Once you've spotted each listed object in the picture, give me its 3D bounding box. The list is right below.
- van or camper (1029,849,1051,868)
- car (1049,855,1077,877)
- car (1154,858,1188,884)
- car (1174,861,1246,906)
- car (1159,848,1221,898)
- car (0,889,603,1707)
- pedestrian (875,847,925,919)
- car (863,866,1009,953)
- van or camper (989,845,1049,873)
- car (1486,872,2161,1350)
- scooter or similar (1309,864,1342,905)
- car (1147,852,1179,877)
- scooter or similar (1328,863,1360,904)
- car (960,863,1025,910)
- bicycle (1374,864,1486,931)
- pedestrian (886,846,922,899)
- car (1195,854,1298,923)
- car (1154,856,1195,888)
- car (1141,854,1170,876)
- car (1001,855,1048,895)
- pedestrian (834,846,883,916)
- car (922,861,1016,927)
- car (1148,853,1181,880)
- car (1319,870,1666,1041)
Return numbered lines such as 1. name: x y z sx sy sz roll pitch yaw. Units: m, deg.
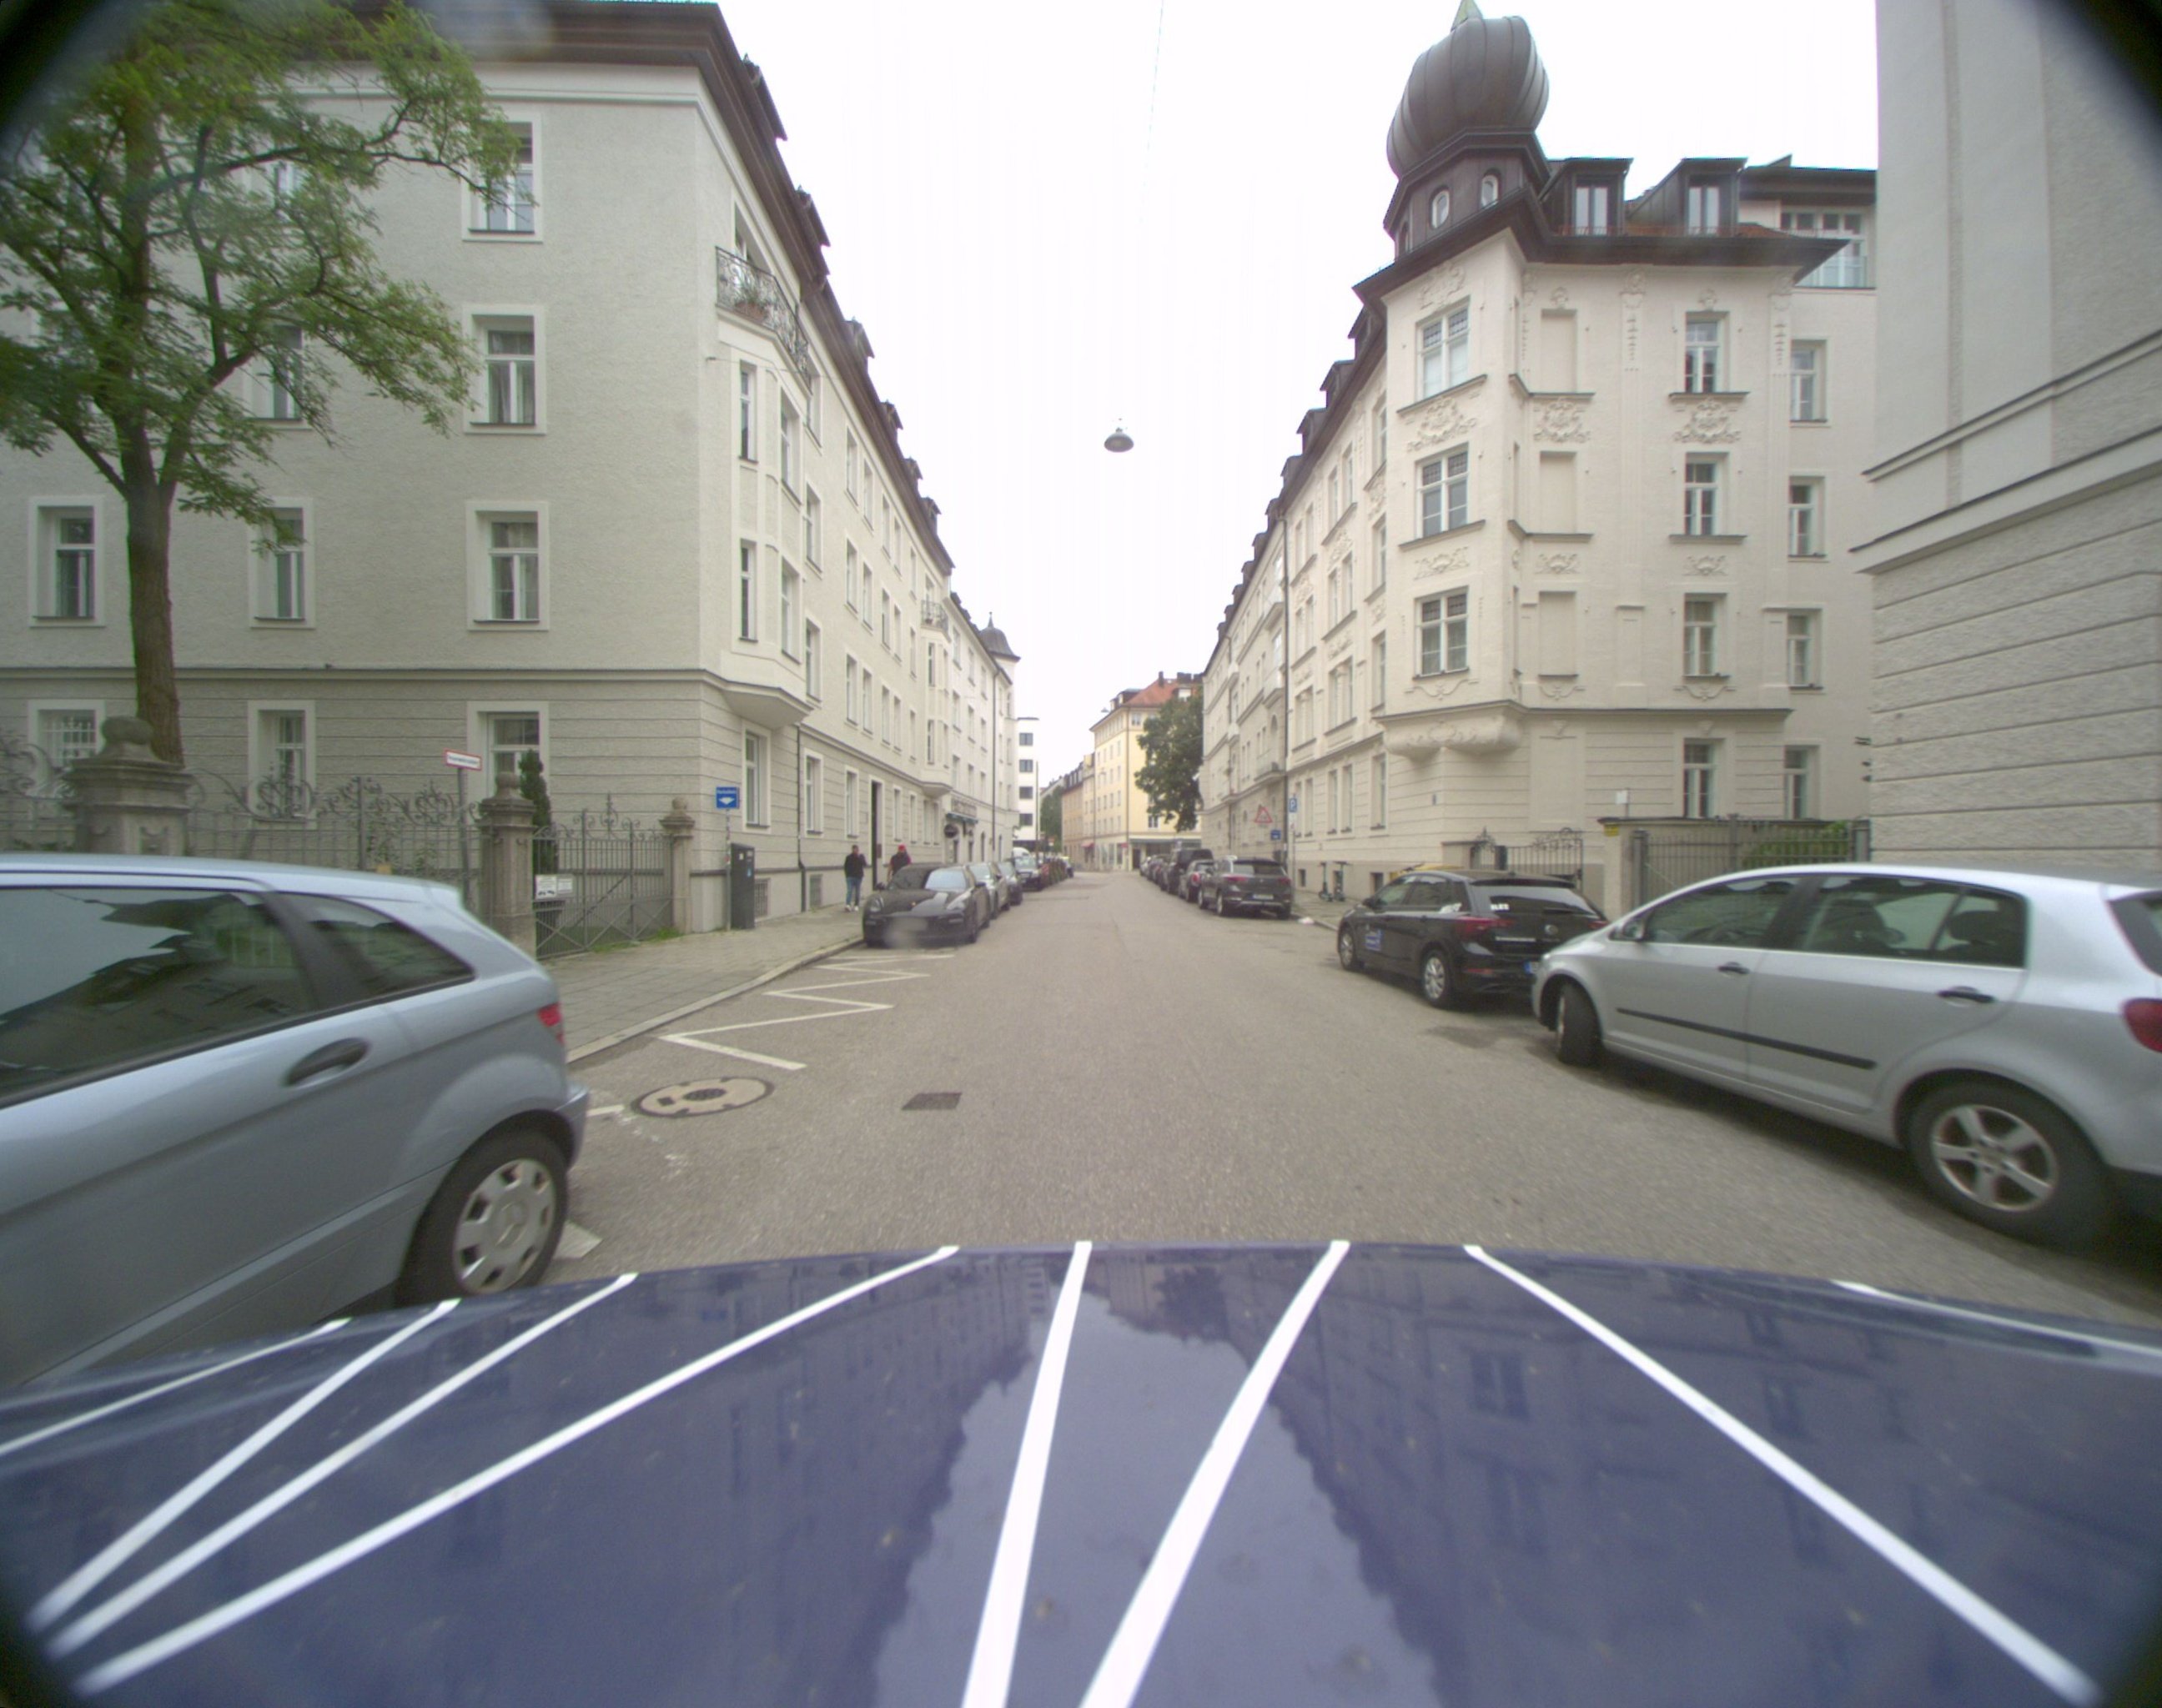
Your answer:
1. van or camper: -5.680 0.642 104.078 1.968 2.494 5.716 0 0 -14
2. car: -1.339 0.902 58.716 1.841 1.609 4.095 -3 0 2
3. car: 5.059 0.927 42.989 1.658 1.399 4.092 1 0 3
4. car: 4.384 0.967 26.514 1.841 1.386 4.245 2 0 1
5. car: 4.476 0.744 31.837 1.841 1.883 4.763 2 0 0
6. car: -2.962 0.955 0.893 1.826 1.560 4.401 -3 0 2
7. pedestrian: -4.708 0.731 19.806 0.885 1.801 1.111 2 0 6
8. car: -2.784 1.014 15.770 1.998 1.449 4.713 -1 0 1
9. van or camper: -6.187 0.498 75.650 5.870 2.697 2.304 0 -2 -6
10. car: 4.510 0.953 4.446 1.787 1.532 4.256 2 0 -3
11. scooter or similar: 7.600 0.925 23.676 0.533 1.193 1.548 0 0 1
12. car: 5.796 0.723 54.192 1.841 1.668 4.213 0 0 0
13. scooter or similar: 8.214 0.893 23.777 0.495 1.215 1.548 0 0 1
14. car: -2.932 1.033 26.028 1.841 1.391 4.972 -2 0 -3
15. bicycle: 7.535 0.892 16.626 1.154 1.235 2.716 -4 0 1
16. pedestrian: -6.359 0.658 27.347 0.885 1.803 1.111 4 0 1
17. car: 4.296 0.828 20.409 1.731 1.609 4.120 2 0 -1
18. car: 4.655 0.882 38.354 1.620 1.504 3.531 1 0 0
19. car: 5.776 0.826 59.082 1.699 1.559 3.950 0 1 -3
20. car: -2.566 0.927 35.219 1.804 1.665 4.189 -3 0 0
21. pedestrian: -5.900 0.692 20.207 0.885 1.776 1.111 2 1 2
22. car: -2.896 0.986 20.572 1.765 1.477 4.420 -3 0 1
23. car: 5.278 0.771 48.357 1.880 1.590 4.435 0 0 3
24. car: 4.463 0.986 9.141 1.797 1.407 4.278 2 0 0
